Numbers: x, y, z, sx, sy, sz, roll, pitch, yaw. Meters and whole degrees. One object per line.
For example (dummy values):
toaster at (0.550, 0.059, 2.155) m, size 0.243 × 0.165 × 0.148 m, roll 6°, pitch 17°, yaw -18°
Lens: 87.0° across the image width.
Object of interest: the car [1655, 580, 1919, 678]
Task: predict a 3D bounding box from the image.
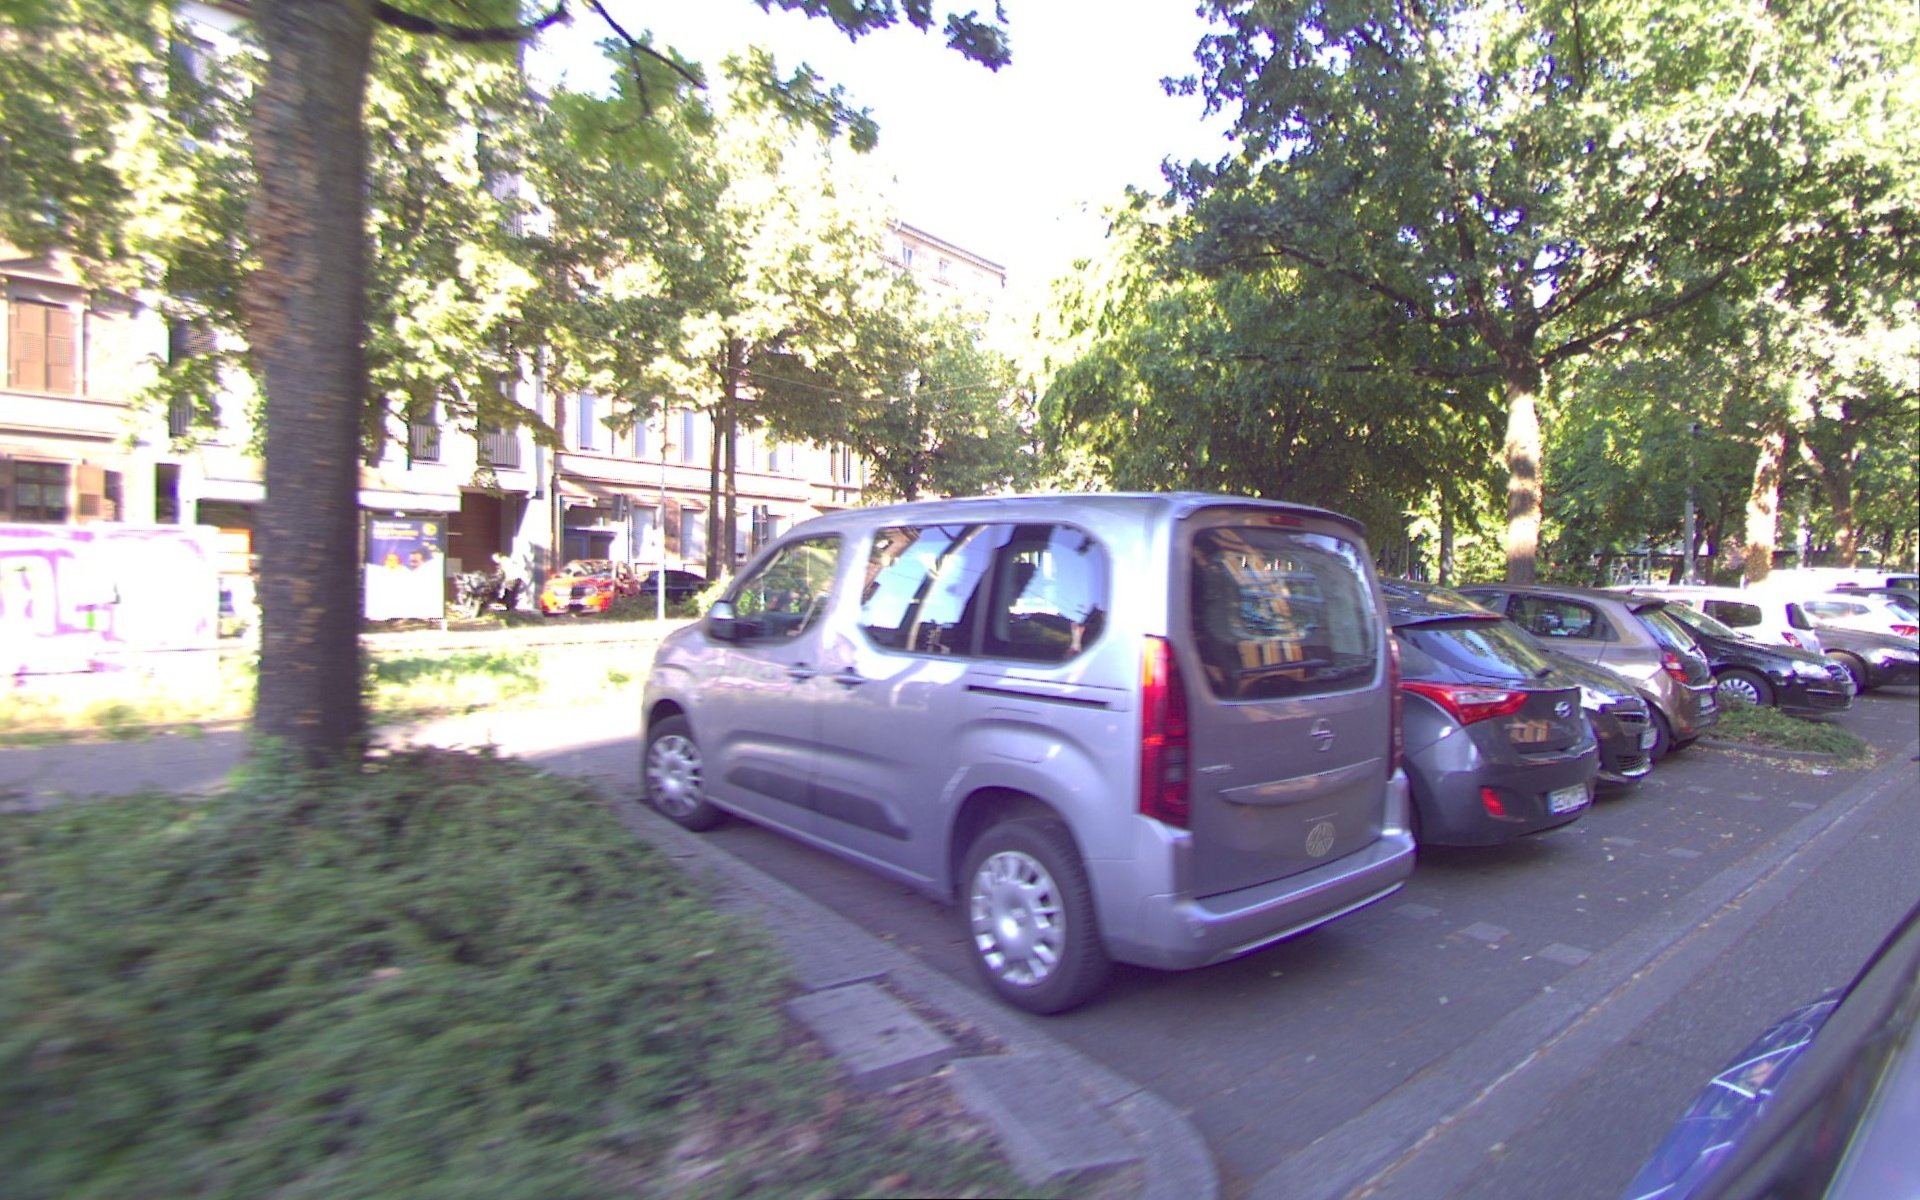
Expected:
car at (15.092, 0.443, 18.162) m, size 1.654 × 1.478 × 3.997 m, roll 0°, pitch 2°, yaw -39°

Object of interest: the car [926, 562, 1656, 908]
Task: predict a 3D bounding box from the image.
car at (1.860, 0.533, 7.043) m, size 1.914 × 1.591 × 4.551 m, roll -1°, pitch 2°, yaw -38°

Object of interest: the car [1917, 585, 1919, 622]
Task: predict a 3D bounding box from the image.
car at (41.289, 0.214, 40.593) m, size 1.654 × 1.507 × 3.997 m, roll 0°, pitch 2°, yaw -39°

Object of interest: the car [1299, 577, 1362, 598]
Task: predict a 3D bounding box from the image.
car at (24.506, -0.854, 67.088) m, size 1.711 × 1.294 × 4.010 m, roll 1°, pitch 2°, yaw -19°

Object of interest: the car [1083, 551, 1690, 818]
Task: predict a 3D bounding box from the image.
car at (3.406, 0.456, 8.722) m, size 4.437 × 1.712 × 1.919 m, roll 2°, pitch 3°, yaw 45°

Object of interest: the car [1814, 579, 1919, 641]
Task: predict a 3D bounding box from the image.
car at (25.845, 0.275, 27.337) m, size 1.654 × 1.573 × 3.997 m, roll 0°, pitch 2°, yaw -39°

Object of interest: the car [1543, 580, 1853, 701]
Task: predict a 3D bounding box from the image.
car at (10.952, 0.511, 15.190) m, size 1.687 × 1.533 × 3.408 m, roll 0°, pitch 1°, yaw -38°

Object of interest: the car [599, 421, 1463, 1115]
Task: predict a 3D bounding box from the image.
car at (-0.156, 0.385, 5.215) m, size 1.914 × 1.938 × 4.551 m, roll -1°, pitch 2°, yaw -38°

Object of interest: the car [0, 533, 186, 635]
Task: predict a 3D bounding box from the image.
car at (-16.248, -0.357, 18.571) m, size 1.889 × 1.655 × 4.564 m, roll 1°, pitch 2°, yaw -19°

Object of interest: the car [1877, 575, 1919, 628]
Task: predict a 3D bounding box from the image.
car at (35.039, 0.110, 35.509) m, size 1.654 × 1.855 × 3.996 m, roll 0°, pitch 2°, yaw -39°

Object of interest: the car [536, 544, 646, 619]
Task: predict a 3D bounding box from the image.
car at (-9.485, -0.521, 26.367) m, size 1.889 × 1.743 × 4.562 m, roll 1°, pitch 2°, yaw -10°

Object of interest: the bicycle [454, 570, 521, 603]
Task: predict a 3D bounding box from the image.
bicycle at (-16.355, -0.467, 35.074) m, size 2.052 × 1.130 × 0.684 m, roll 0°, pitch 1°, yaw -21°

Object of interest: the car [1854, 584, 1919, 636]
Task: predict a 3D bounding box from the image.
car at (29.752, 0.334, 30.494) m, size 1.654 × 1.507 × 3.997 m, roll 0°, pitch 2°, yaw -39°

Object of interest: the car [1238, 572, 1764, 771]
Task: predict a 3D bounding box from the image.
car at (5.425, 0.525, 10.745) m, size 1.914 × 1.591 × 4.551 m, roll -1°, pitch 2°, yaw -38°

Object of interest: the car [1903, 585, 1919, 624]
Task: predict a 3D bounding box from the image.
car at (39.155, 0.237, 38.935) m, size 1.654 × 1.507 × 3.997 m, roll 0°, pitch 2°, yaw -39°

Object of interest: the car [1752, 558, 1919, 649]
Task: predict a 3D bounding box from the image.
car at (22.547, 0.055, 24.575) m, size 2.117 × 2.063 × 4.856 m, roll 0°, pitch 2°, yaw -39°

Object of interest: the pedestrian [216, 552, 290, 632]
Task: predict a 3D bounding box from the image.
pedestrian at (-11.755, -0.142, 16.834) m, size 0.821 × 1.288 × 0.863 m, roll 2°, pitch 2°, yaw 42°

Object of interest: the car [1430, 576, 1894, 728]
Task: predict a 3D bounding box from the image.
car at (9.066, 0.506, 13.493) m, size 1.964 × 1.591 × 4.714 m, roll -1°, pitch 3°, yaw -38°

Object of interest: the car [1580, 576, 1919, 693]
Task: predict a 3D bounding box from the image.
car at (13.089, 0.435, 16.496) m, size 1.964 × 1.591 × 4.714 m, roll -1°, pitch 3°, yaw -38°

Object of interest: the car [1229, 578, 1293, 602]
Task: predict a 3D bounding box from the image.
car at (18.299, -0.616, 61.717) m, size 1.711 × 1.294 × 4.010 m, roll 1°, pitch 2°, yaw -19°

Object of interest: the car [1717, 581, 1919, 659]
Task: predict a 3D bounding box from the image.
car at (18.772, 0.381, 21.501) m, size 1.654 × 1.440 × 3.997 m, roll 0°, pitch 2°, yaw -39°

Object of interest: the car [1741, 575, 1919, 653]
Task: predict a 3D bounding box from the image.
car at (20.460, 0.293, 23.030) m, size 1.735 × 1.599 × 3.994 m, roll 0°, pitch 2°, yaw -42°

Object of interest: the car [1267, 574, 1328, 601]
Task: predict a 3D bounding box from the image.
car at (24.285, -0.920, 72.958) m, size 1.714 × 1.788 × 4.003 m, roll 0°, pitch 2°, yaw -33°

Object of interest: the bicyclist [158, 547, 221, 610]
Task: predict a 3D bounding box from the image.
bicyclist at (-17.256, -0.479, 22.663) m, size 0.775 × 1.370 × 0.966 m, roll 2°, pitch 2°, yaw 39°

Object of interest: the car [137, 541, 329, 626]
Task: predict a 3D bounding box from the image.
car at (-14.403, -0.373, 20.372) m, size 1.889 × 1.505 × 4.564 m, roll 1°, pitch 2°, yaw -19°
